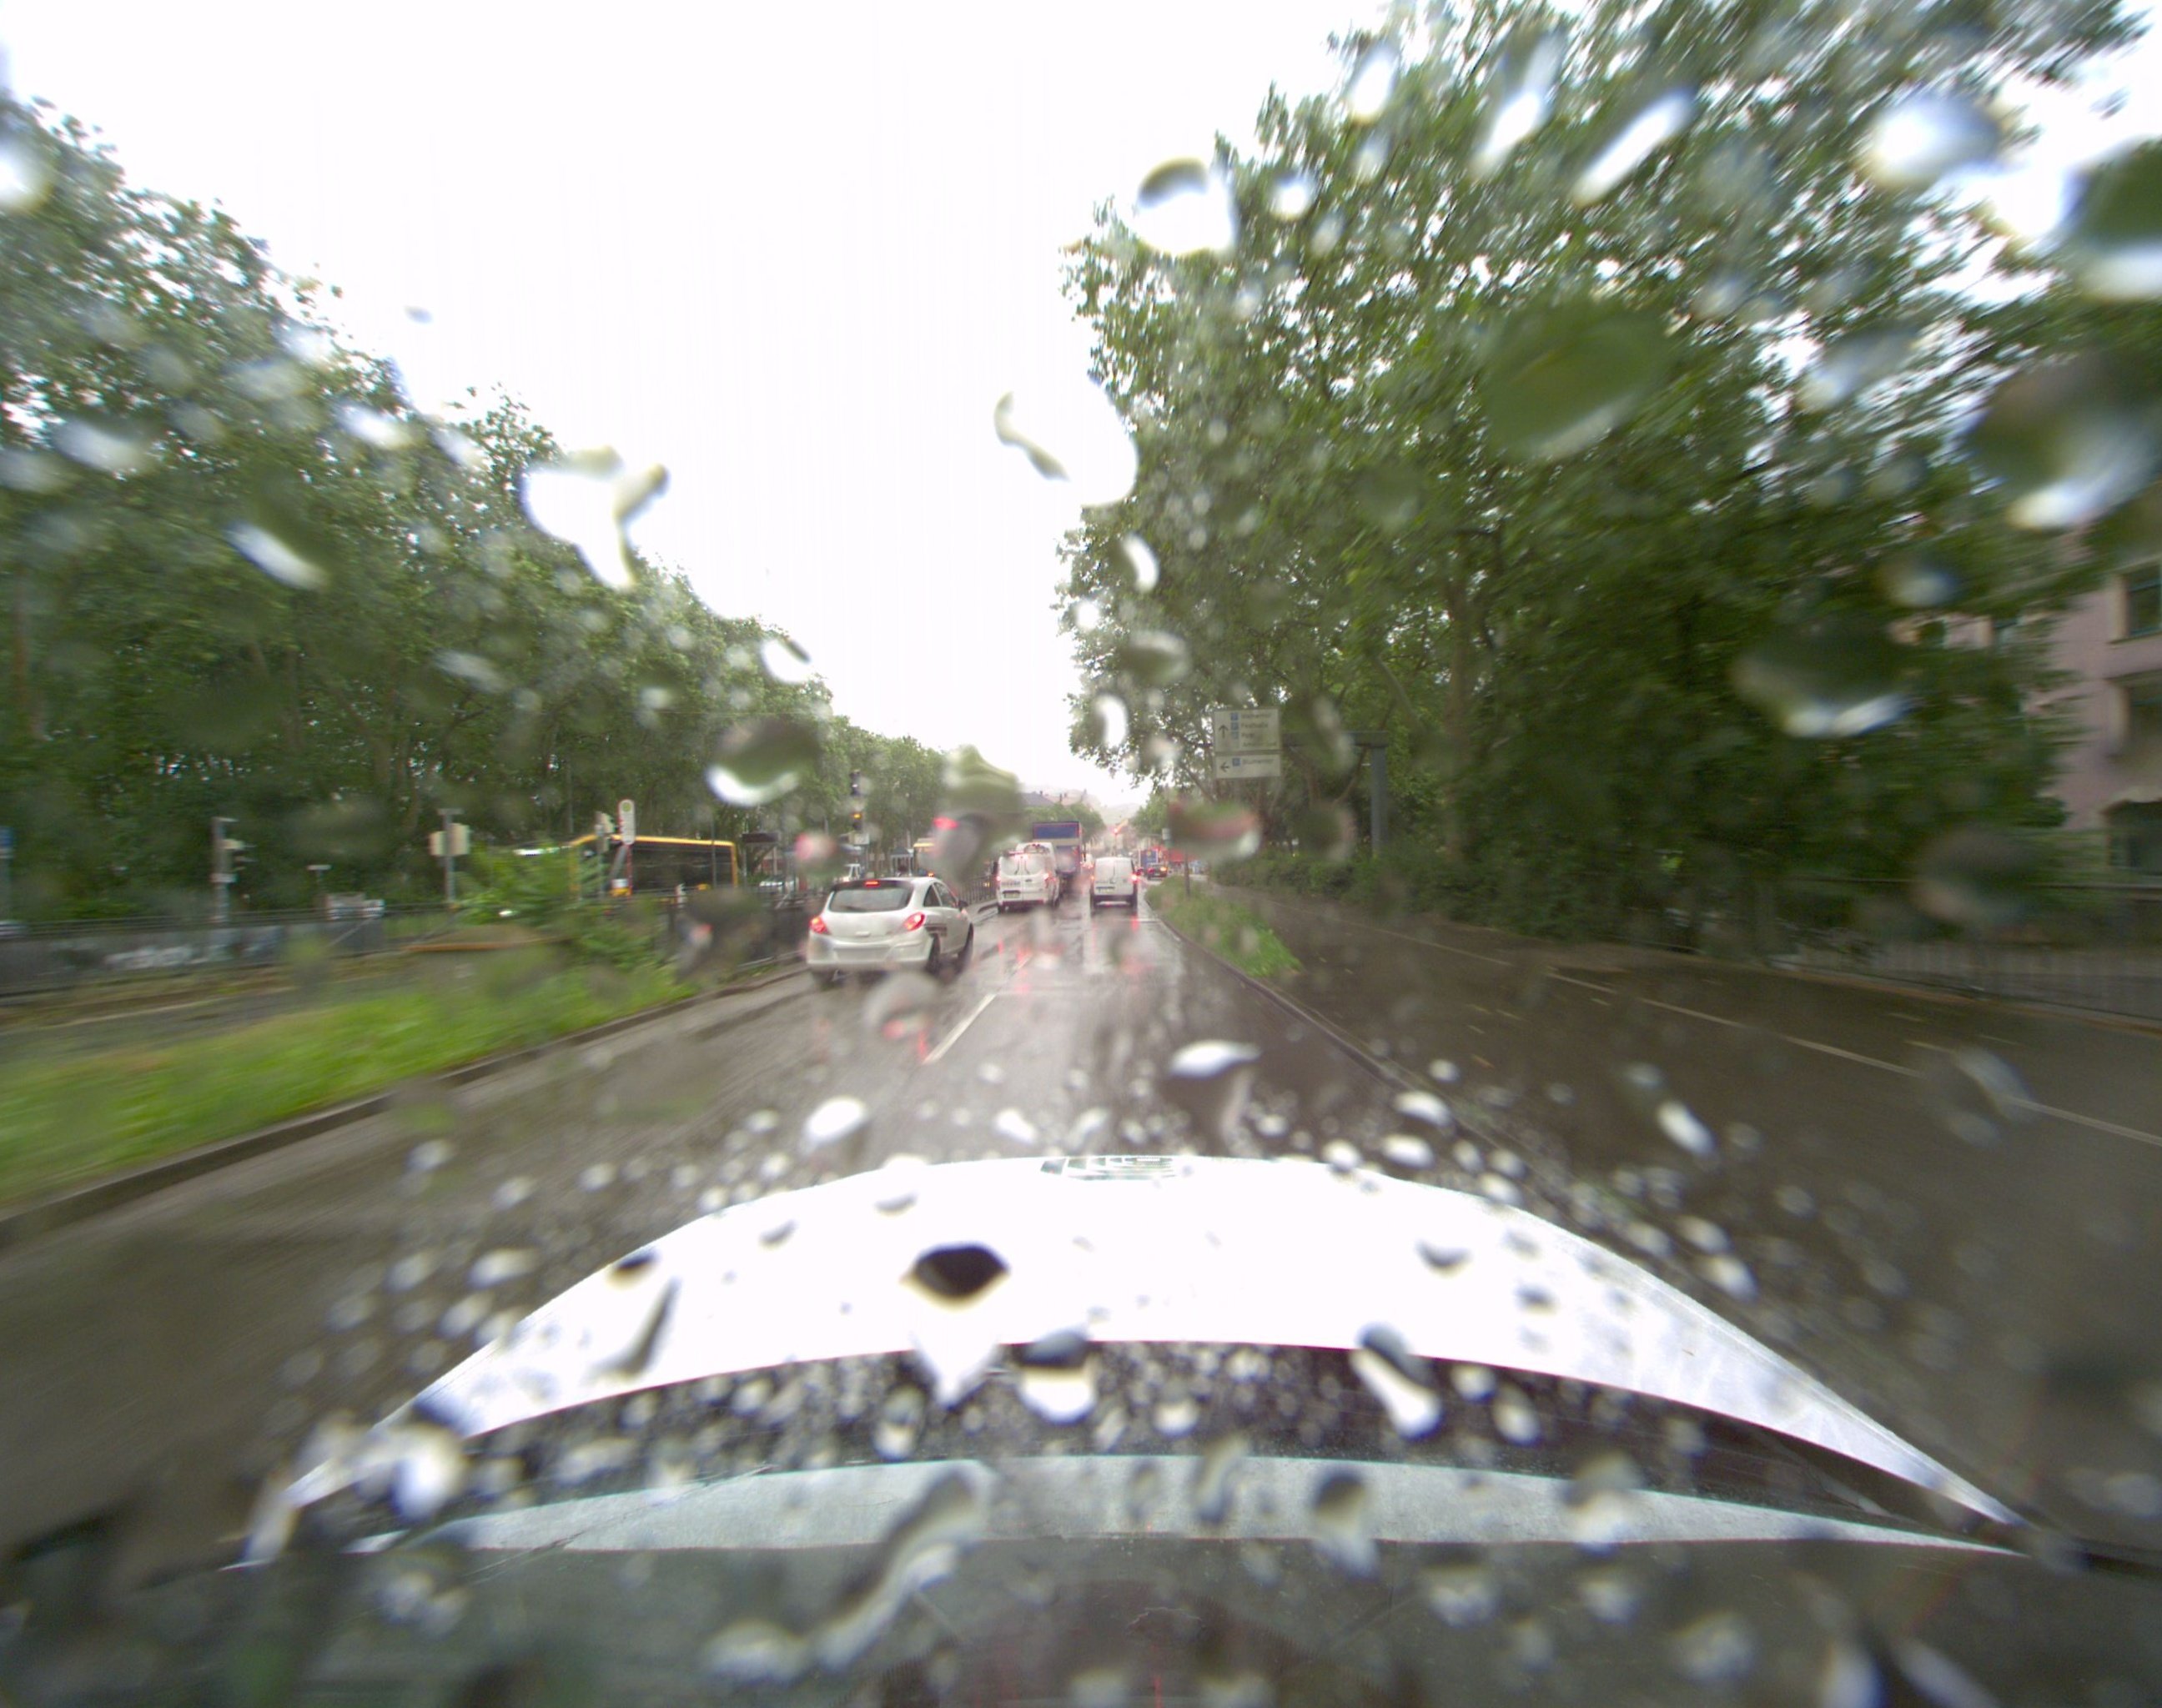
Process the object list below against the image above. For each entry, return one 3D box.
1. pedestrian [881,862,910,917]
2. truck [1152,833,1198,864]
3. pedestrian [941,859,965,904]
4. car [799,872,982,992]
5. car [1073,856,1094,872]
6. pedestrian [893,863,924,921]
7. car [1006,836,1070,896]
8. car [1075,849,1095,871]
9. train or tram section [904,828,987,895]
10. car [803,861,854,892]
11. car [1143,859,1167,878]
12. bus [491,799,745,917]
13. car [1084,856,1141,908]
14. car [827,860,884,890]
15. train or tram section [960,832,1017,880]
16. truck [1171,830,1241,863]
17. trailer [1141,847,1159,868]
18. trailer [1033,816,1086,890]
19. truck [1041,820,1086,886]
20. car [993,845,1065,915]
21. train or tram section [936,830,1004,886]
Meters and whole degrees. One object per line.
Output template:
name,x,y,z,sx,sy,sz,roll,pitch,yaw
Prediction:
pedestrian,-6.032,1.129,26.502,0.675,1.738,0.808,-2,-1,1
truck,16.164,-0.943,140.022,7.104,4.899,3.303,-4,0,15
pedestrian,-4.898,1.054,31.242,0.787,1.714,0.771,0,-2,1
car,-2.701,1.054,12.451,1.719,1.479,3.807,-2,-1,2
car,0.281,1.072,84.653,1.986,1.578,4.294,-1,-1,2
pedestrian,-5.342,1.155,25.220,0.713,1.744,0.751,-2,-1,1
car,-1.904,0.576,38.375,2.320,2.557,6.117,-2,-1,2
car,0.434,0.669,90.179,1.986,2.442,4.614,-1,-1,2
train or tram section,-7.502,0.323,46.345,2.950,3.285,8.363,-4,0,1
car,-19.721,1.691,63.827,1.984,2.223,5.230,-2,0,4
car,6.607,1.258,72.281,1.983,1.542,4.007,-2,0,6
bus,-17.877,0.189,33.084,3.019,3.838,12.248,-1,-1,1
car,1.181,1.042,30.594,1.951,1.777,3.571,-2,-1,2
car,-16.661,1.518,60.482,2.175,2.014,6.118,-2,-1,2
train or tram section,-7.030,0.132,63.451,2.968,3.285,8.987,-4,0,1
truck,21.305,-1.285,138.615,11.278,4.899,3.303,-4,0,15
trailer,8.143,0.458,96.546,1.985,2.317,4.672,-2,-1,3
trailer,-1.122,-0.065,47.526,2.581,3.899,7.637,-2,0,1
truck,-1.040,-0.061,51.618,2.571,3.904,4.001,-2,0,1
car,-1.786,0.923,29.805,1.985,2.262,5.291,-2,-1,2
train or tram section,-7.278,0.233,54.748,2.968,3.285,8.434,-4,0,1
